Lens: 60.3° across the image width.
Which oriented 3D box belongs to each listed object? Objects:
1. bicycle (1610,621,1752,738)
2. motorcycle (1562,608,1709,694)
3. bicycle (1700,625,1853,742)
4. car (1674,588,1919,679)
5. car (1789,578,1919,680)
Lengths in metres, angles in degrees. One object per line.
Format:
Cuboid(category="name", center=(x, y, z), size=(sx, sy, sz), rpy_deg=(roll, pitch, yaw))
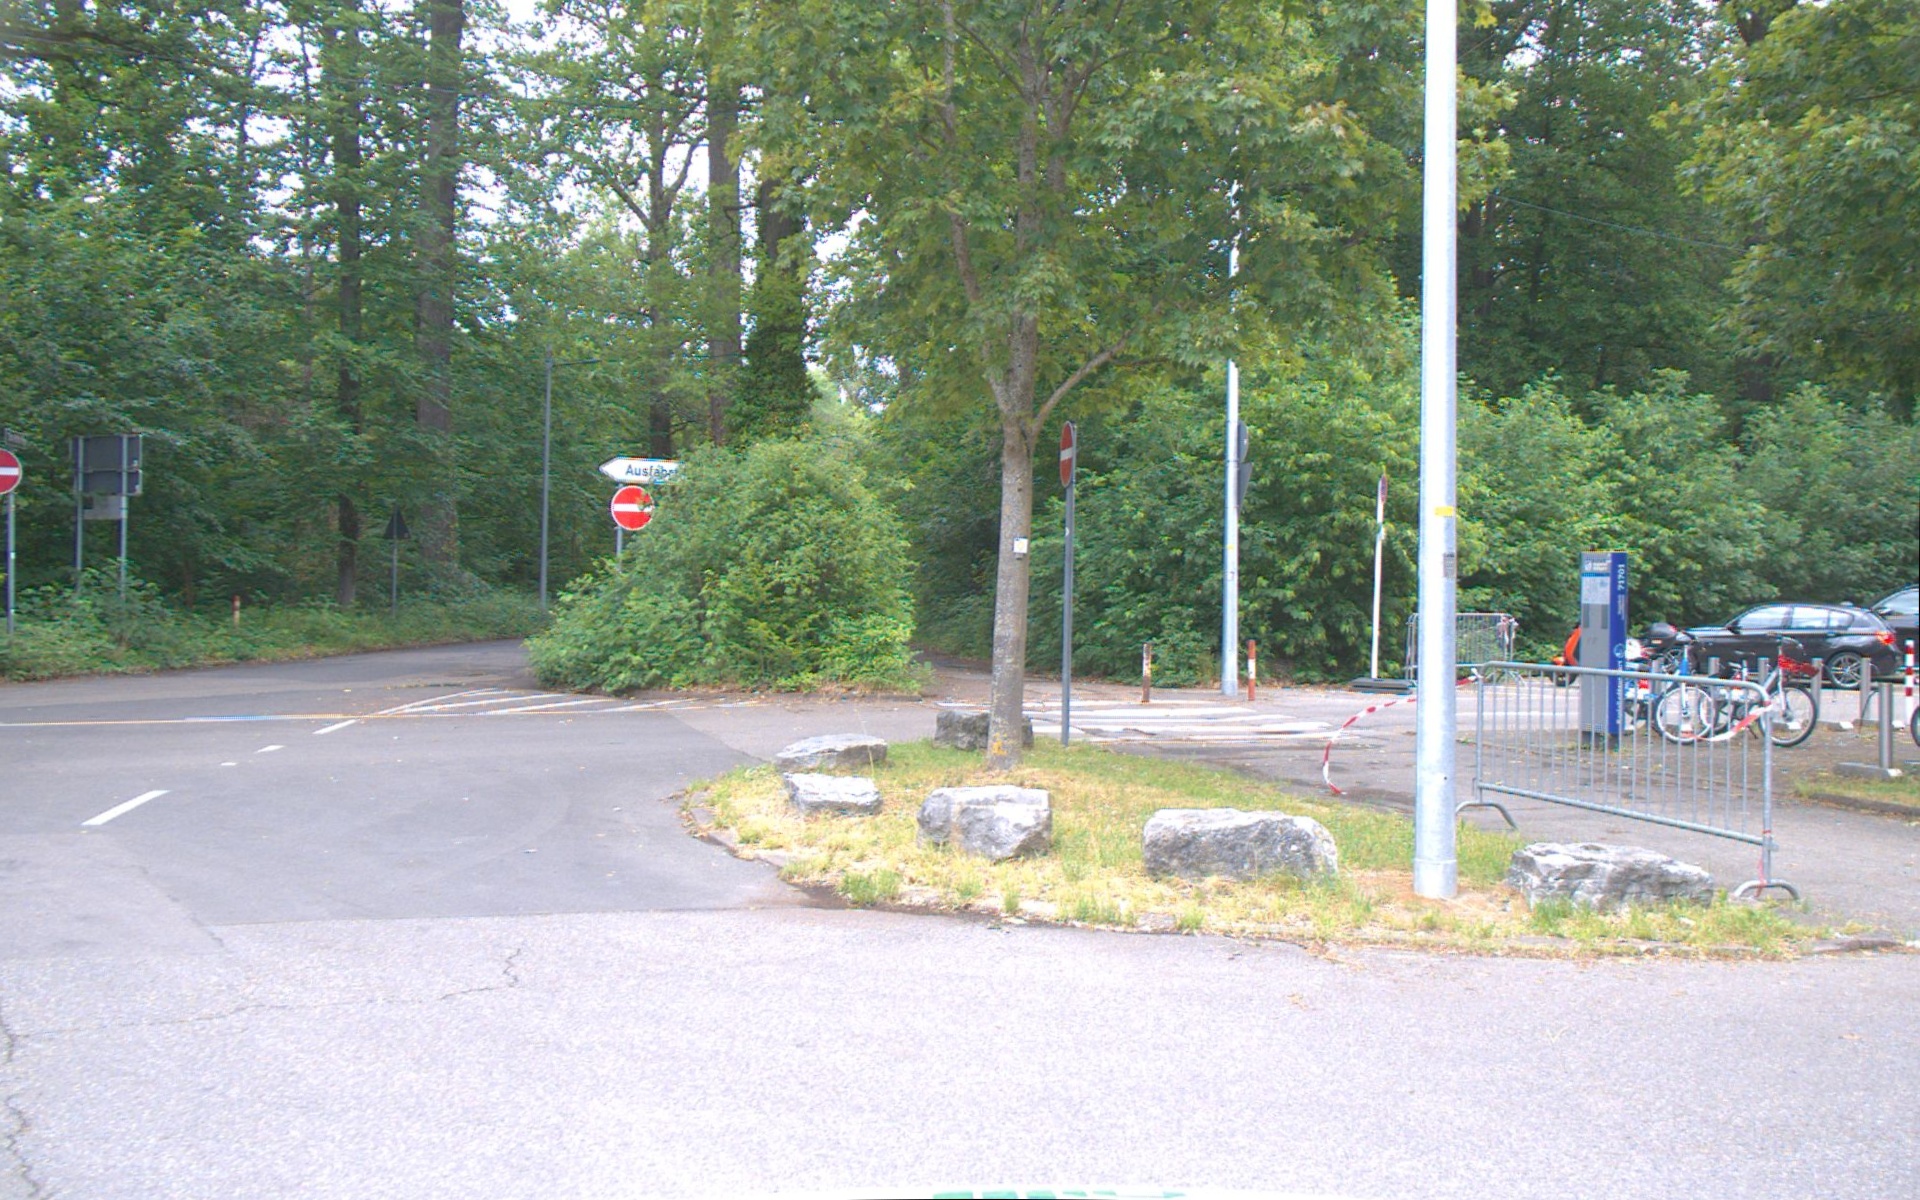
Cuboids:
Cuboid(category="bicycle", center=(7.610, 0.813, 17.535), size=(0.472, 1.131, 1.692), rpy_deg=(1, 1, -11))
Cuboid(category="motorcycle", center=(10.517, 0.769, 25.768), size=(1.989, 1.229, 0.728), rpy_deg=(2, 1, 36))
Cuboid(category="bicycle", center=(8.686, 0.862, 17.664), size=(0.496, 1.131, 1.679), rpy_deg=(1, 1, -13))
Cuboid(category="car", center=(14.565, 0.547, 28.678), size=(3.909, 1.400, 1.738), rpy_deg=(2, 1, 26))
Cuboid(category="car", center=(17.785, 0.532, 30.268), size=(4.601, 1.798, 2.110), rpy_deg=(1, 1, 26))
